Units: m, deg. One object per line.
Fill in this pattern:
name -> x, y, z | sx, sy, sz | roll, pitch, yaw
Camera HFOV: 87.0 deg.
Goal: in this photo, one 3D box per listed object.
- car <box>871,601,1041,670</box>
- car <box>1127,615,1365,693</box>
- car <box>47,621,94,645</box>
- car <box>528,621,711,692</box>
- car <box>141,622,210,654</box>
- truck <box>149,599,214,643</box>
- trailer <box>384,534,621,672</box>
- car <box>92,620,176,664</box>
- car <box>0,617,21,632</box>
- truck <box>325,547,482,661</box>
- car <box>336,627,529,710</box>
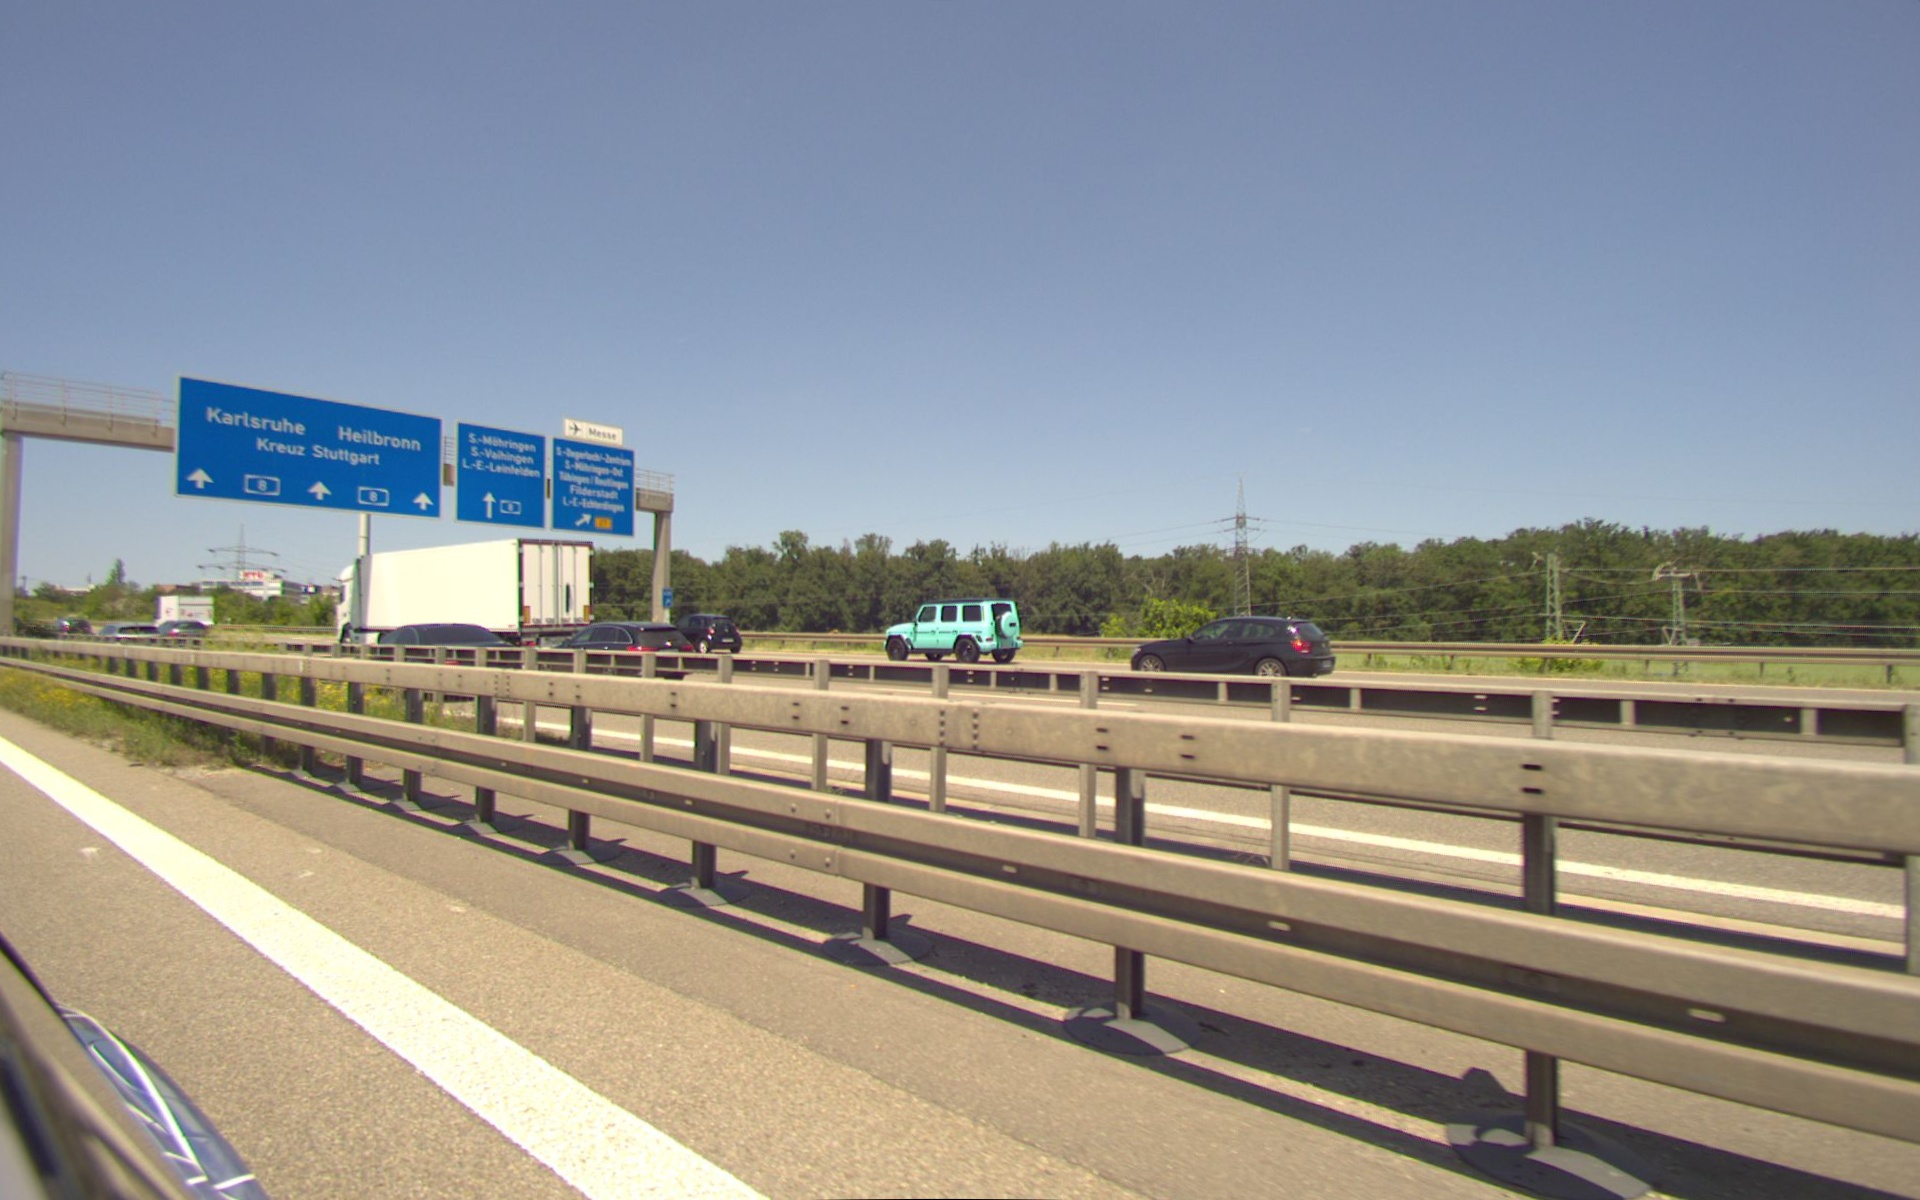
car -> -0.199, 1.049, 30.931 | 5.159, 1.929, 1.995 | -2, -1, 41
car -> 5.835, 1.063, 20.985 | 4.453, 1.436, 1.678 | -2, -1, 41
car -> -58.696, 2.167, 66.771 | 3.996, 1.573, 1.725 | -1, -1, 40
car -> -8.061, 1.263, 23.696 | 4.994, 1.471, 1.822 | -2, -1, 41
car -> -39.831, 1.891, 51.358 | 5.098, 1.520, 1.725 | -1, -1, 40
truck -> -58.804, 1.593, 76.377 | 8.106, 3.191, 2.296 | -1, -1, 40
trailer -> -16.560, 0.134, 35.956 | 11.402, 4.224, 3.189 | -1, -1, 41
car -> -32.759, 1.634, 40.065 | 5.353, 1.600, 1.713 | -2, -1, 41
car -> -92.521, 2.393, 97.945 | 3.996, 1.431, 1.886 | -1, -1, 40
truck -> -22.874, 0.243, 41.431 | 7.689, 4.241, 3.214 | -1, -2, 41
car -> -10.852, 1.301, 20.657 | 4.994, 1.471, 1.822 | -2, -1, 41
